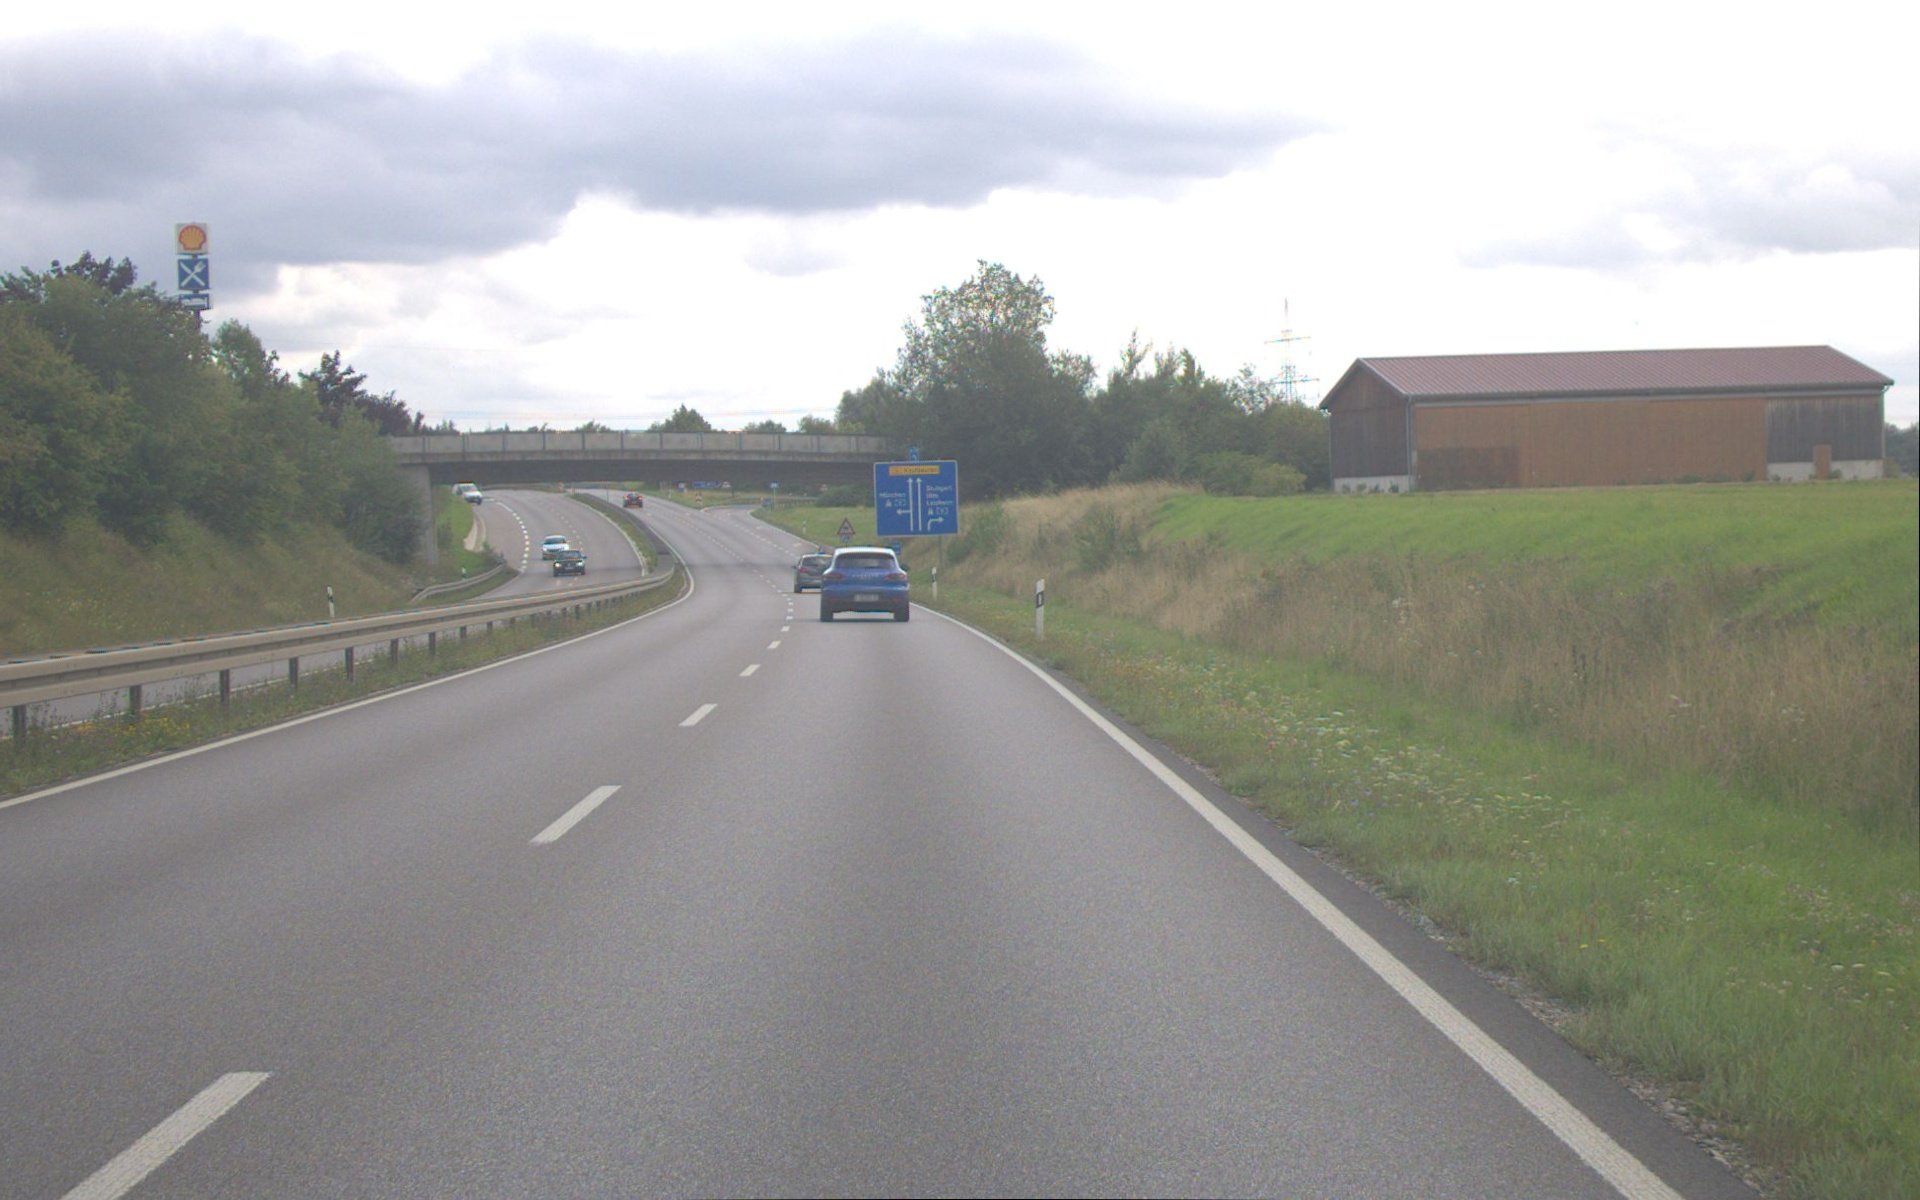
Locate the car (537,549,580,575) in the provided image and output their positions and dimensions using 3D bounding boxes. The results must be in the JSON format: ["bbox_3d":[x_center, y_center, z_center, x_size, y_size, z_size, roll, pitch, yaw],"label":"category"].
[{"bbox_3d":[-22.311,-2.115,191.193,1.993,1.300,4.822,-1,1,-2],"label":"car"}]

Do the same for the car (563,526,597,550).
[{"bbox_3d":[-25.015,-4.116,226.490,1.993,1.448,4.001,-1,2,-3],"label":"car"}]

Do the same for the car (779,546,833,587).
[{"bbox_3d":[-6.003,-1.309,133.489,1.917,1.448,4.365,-2,2,-5],"label":"car"}]

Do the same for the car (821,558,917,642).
[{"bbox_3d":[-2.009,-0.029,75.626,2.033,1.654,4.544,0,2,-2],"label":"car"}]
